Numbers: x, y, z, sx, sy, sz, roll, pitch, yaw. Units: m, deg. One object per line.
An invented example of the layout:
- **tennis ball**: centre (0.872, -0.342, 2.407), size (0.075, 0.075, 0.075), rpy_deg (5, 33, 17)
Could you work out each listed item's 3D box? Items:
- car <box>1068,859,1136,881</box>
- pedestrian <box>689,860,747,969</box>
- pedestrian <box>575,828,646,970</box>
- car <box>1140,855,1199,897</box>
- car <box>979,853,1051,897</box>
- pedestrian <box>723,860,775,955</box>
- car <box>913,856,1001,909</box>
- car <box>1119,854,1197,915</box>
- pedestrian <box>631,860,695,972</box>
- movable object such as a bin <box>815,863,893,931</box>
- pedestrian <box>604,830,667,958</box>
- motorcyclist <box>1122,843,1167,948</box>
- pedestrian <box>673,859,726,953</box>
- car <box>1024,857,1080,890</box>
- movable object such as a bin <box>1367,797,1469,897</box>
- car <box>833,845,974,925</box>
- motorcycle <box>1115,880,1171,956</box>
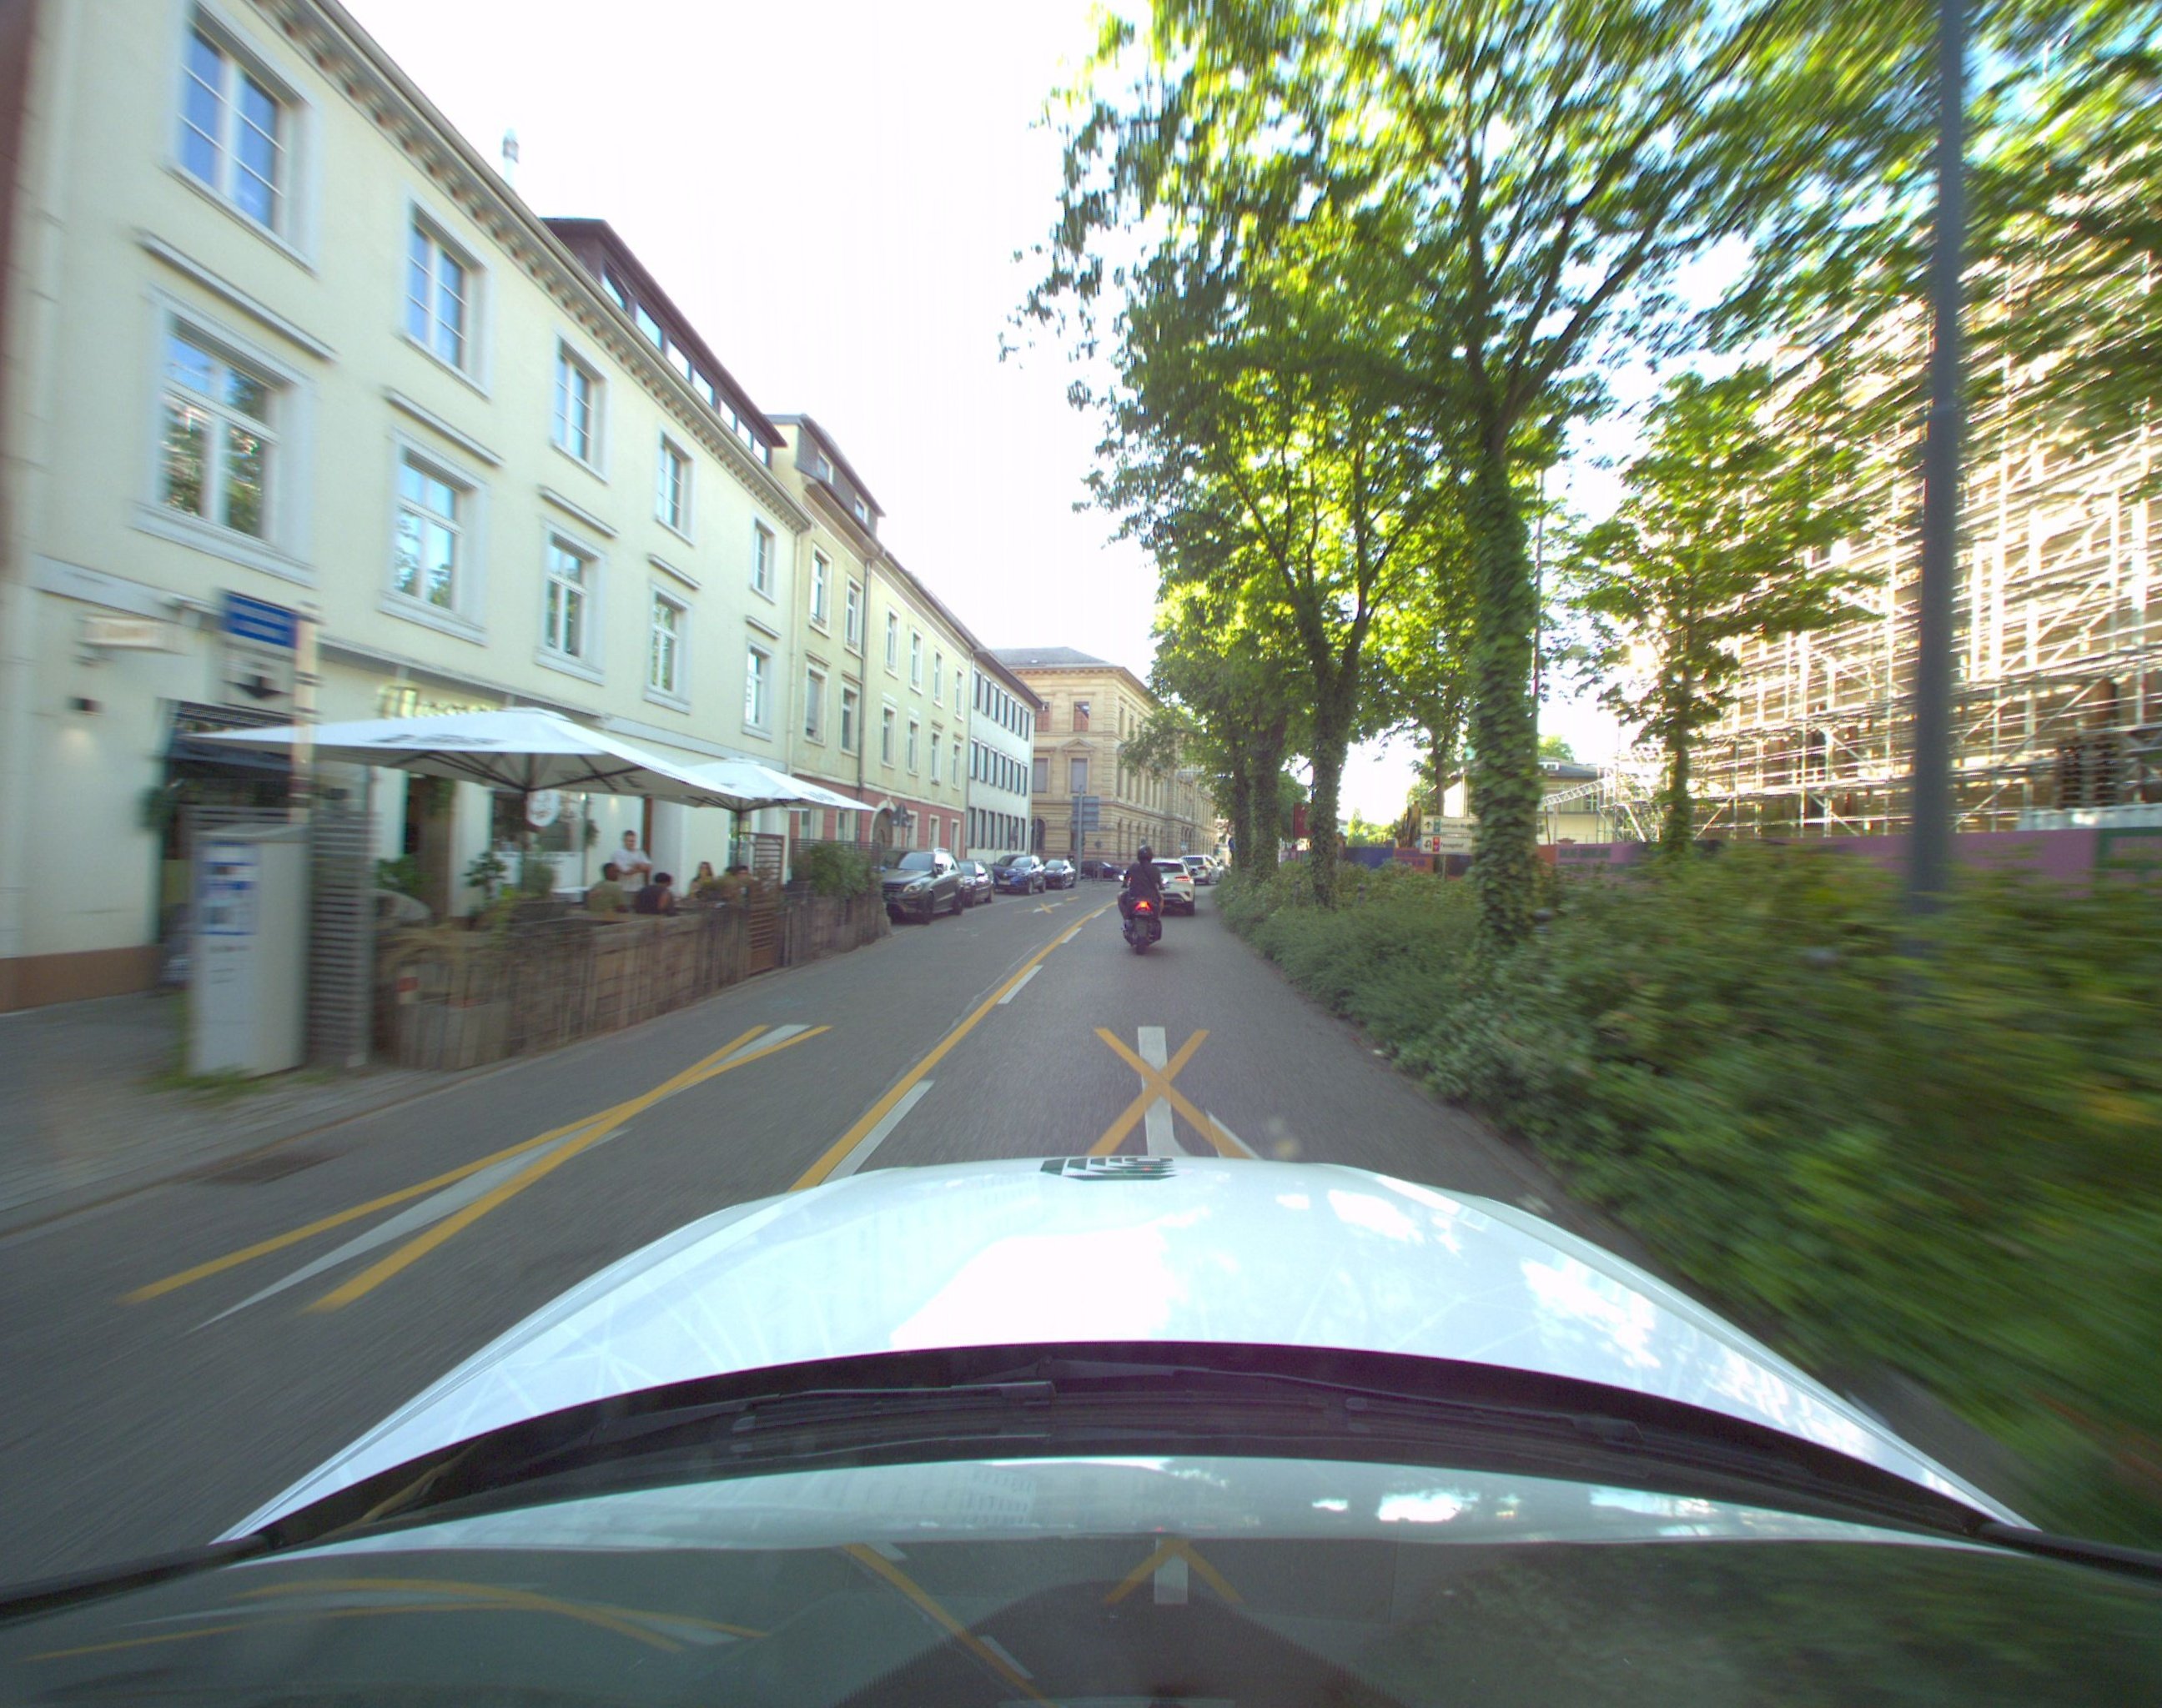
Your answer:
- **car**: centre (1.457, 1.075, 55.701), size (4.279, 1.390, 1.784), rpy_deg (1, 0, 18)
- **pedestrian**: centre (-4.945, 0.813, 11.119), size (0.468, 1.433, 0.503), rpy_deg (2, 0, 8)
- **pedestrian**: centre (-6.077, 0.569, 10.538), size (0.591, 1.775, 0.440), rpy_deg (2, 0, 12)
- **car**: centre (3.508, 0.816, 31.683), size (1.828, 1.463, 4.070), rpy_deg (3, 0, 11)
- **car**: centre (-2.652, 0.817, 33.899), size (1.922, 1.667, 4.358), rpy_deg (1, 0, 9)
- **pedestrian**: centre (-5.037, 0.803, 12.374), size (0.521, 1.391, 0.488), rpy_deg (2, 0, 0)
- **car**: centre (-3.766, 0.823, 25.508), size (1.645, 1.480, 4.435), rpy_deg (1, 0, 6)
- **car**: centre (2.223, 0.786, 22.581), size (1.840, 1.480, 4.067), rpy_deg (2, 0, 9)
- **pedestrian**: centre (-5.386, 0.789, 10.514), size (0.521, 1.391, 0.488), rpy_deg (2, 0, 0)
- **movable object such as a bin**: centre (-4.570, 0.847, 16.462), size (1.209, 1.295, 0.932), rpy_deg (1, -1, 8)
- **pedestrian**: centre (-6.407, 0.560, 11.721), size (0.434, 1.775, 0.600), rpy_deg (2, 0, 16)
- **motorcyclist**: centre (1.039, 0.670, 13.449), size (0.654, 1.650, 0.651), rpy_deg (3, 0, 2)
- **pedestrian**: centre (-5.773, 0.774, 12.341), size (0.521, 1.391, 0.488), rpy_deg (2, 0, 0)
- **car**: centre (-1.395, 0.941, 40.941), size (1.813, 1.503, 4.772), rpy_deg (3, 0, 9)
- **movable object such as a bin**: centre (16.859, -0.317, 41.377), size (3.285, 4.539, 7.930), rpy_deg (1, 0, 12)
- **car**: centre (-4.145, 0.676, 19.903), size (1.912, 1.679, 4.792), rpy_deg (1, 0, 6)
- **motorcycle**: centre (1.008, 1.009, 13.321), size (0.793, 1.066, 1.727), rpy_deg (3, 0, 4)
